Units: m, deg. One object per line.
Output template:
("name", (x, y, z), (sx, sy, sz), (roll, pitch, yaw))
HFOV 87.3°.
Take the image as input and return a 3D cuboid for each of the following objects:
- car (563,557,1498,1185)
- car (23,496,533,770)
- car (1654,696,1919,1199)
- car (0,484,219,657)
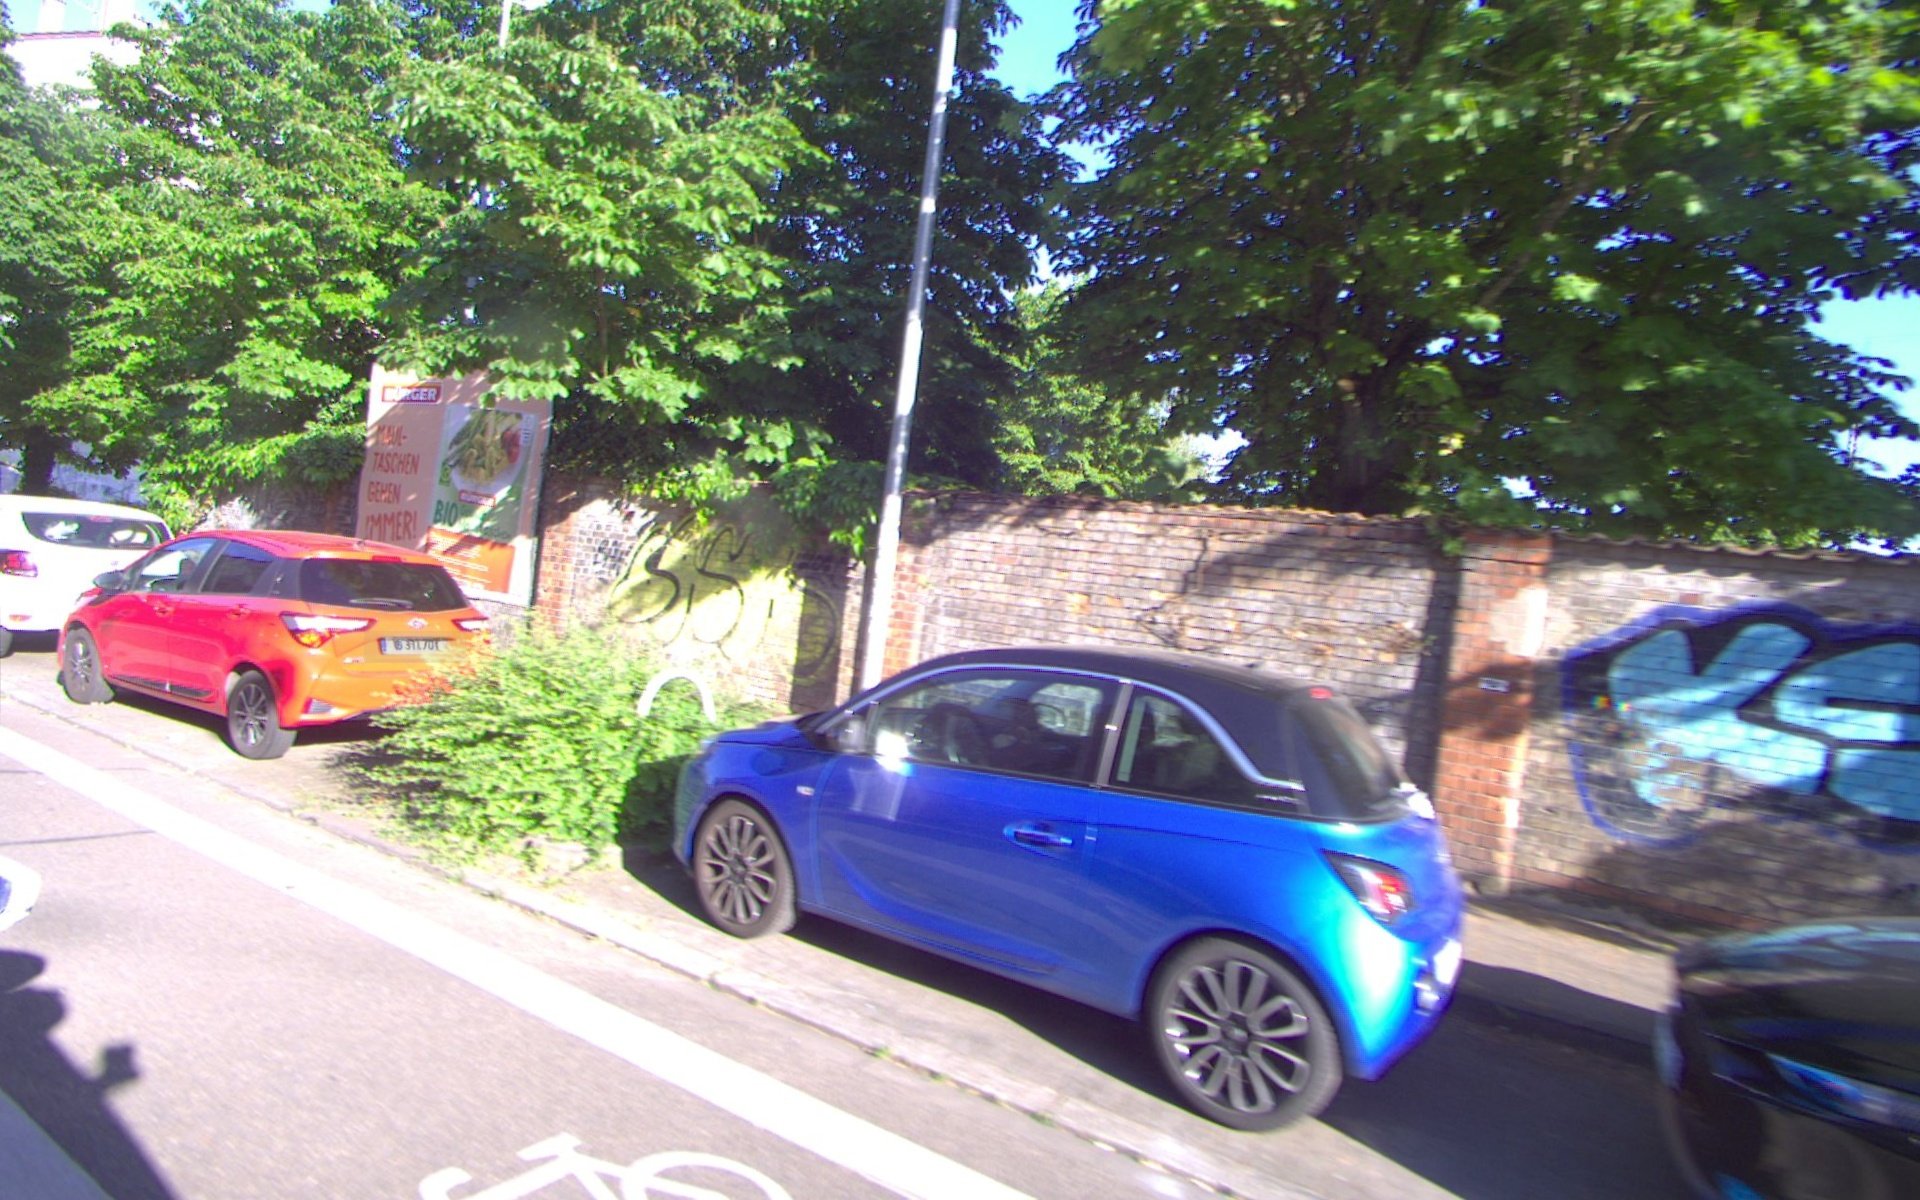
("car", (0.137, 0.800, 4.719), (3.936, 1.549, 1.689), (7, 0, 34))
("car", (-5.541, 0.164, 8.097), (3.931, 1.549, 1.692), (7, 0, 28))
("car", (4.085, 1.288, 1.987), (4.285, 1.549, 1.689), (7, 0, 34))
("car", (-9.983, -0.423, 10.690), (3.929, 1.549, 1.692), (7, 0, 26))
